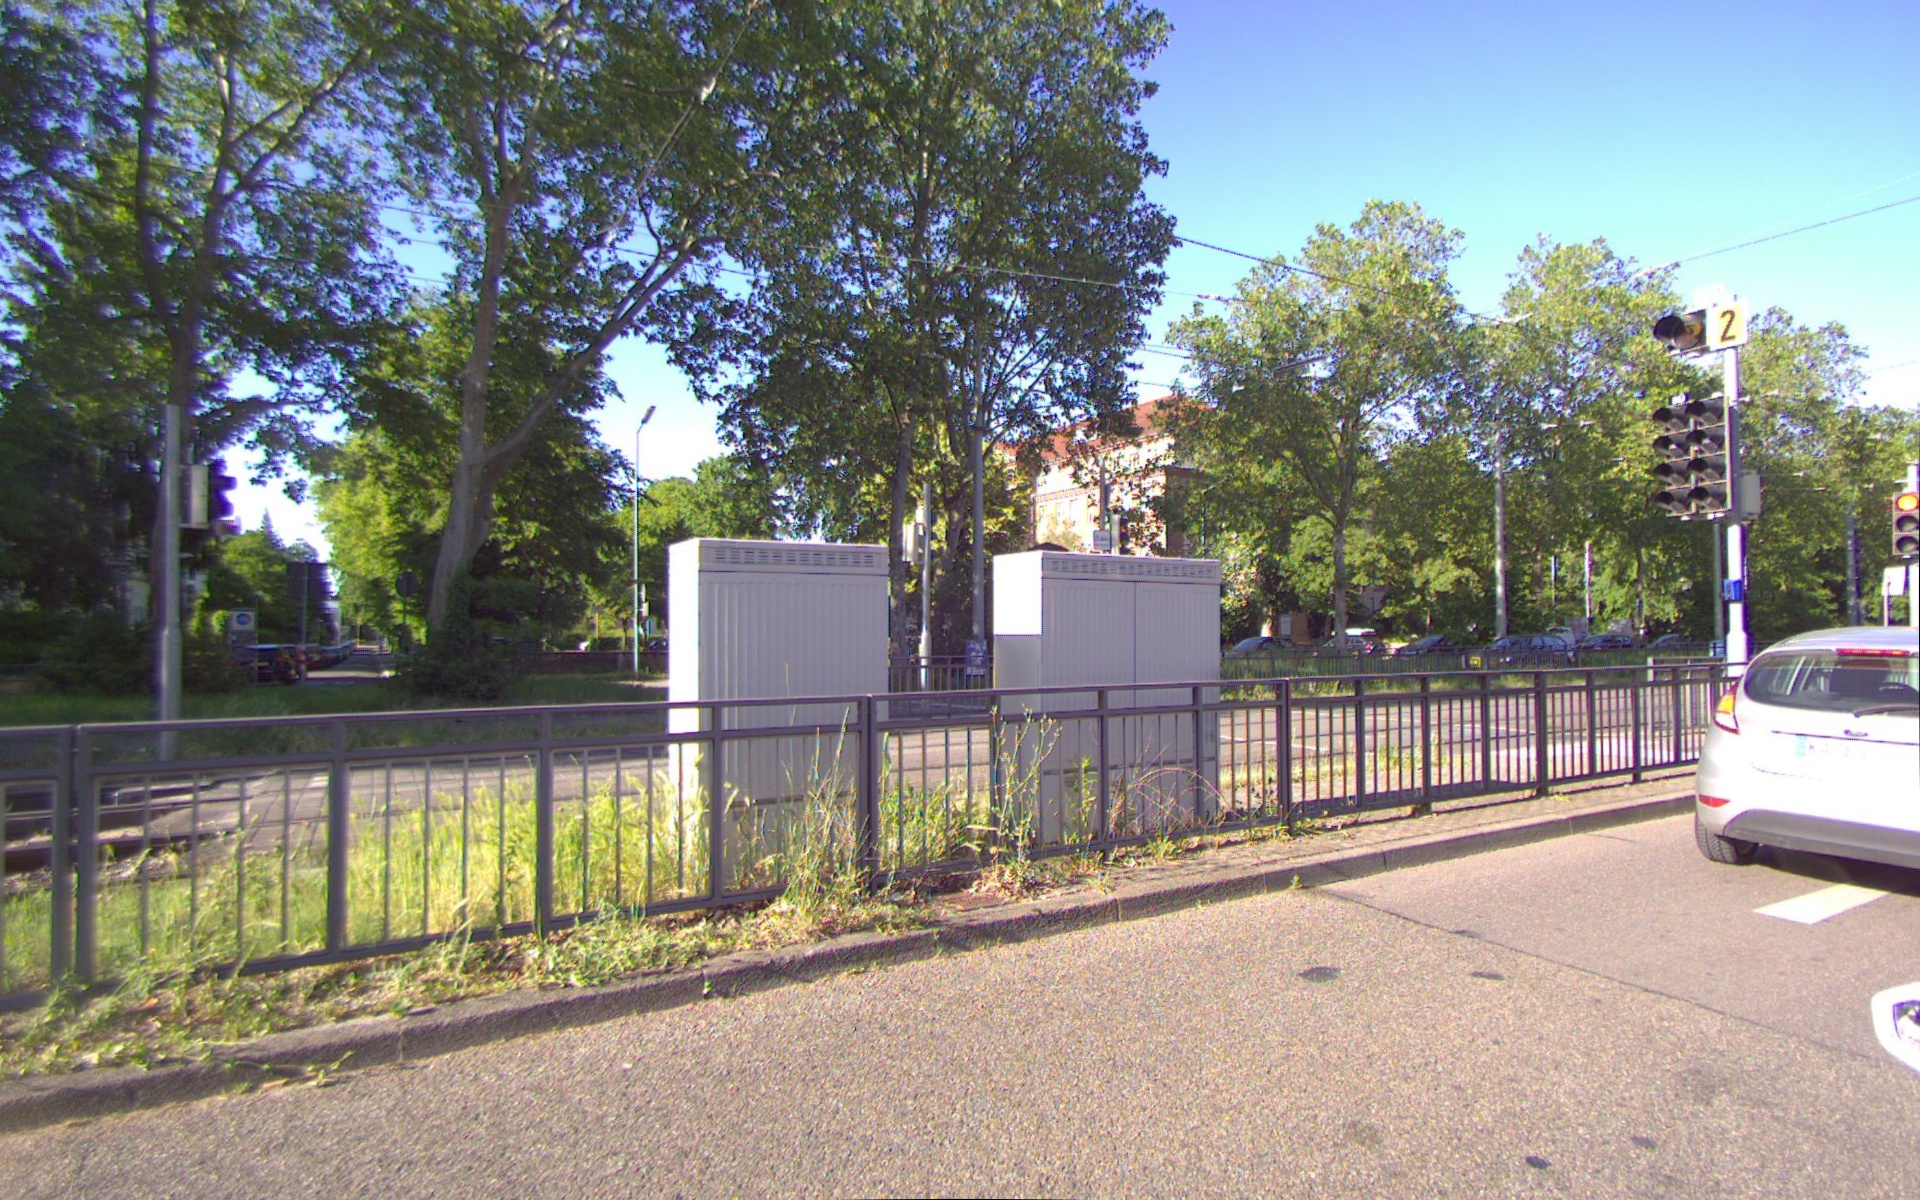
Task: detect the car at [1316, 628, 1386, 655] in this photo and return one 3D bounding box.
[{"bbox_3d":[22.706,2.395,58.460,1.375,1.514,3.974,0,-1,-26],"label":"car"}]

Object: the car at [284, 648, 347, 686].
[{"bbox_3d":[-27.368,2.808,42.767,1.976,1.437,3.970,1,-1,-29],"label":"car"}]

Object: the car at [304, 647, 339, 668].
[{"bbox_3d":[-37.113,3.342,58.427,1.513,1.134,3.102,1,-2,-29],"label":"car"}]

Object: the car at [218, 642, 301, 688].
[{"bbox_3d":[-24.454,2.222,35.206,1.976,1.437,3.970,1,-1,-29],"label":"car"}]

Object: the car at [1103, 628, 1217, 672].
[{"bbox_3d":[7.373,1.802,36.903,4.098,1.529,1.661,1,-1,-32],"label":"car"}]

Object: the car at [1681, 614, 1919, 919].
[{"bbox_3d":[6.152,0.839,6.179,3.850,1.487,1.599,1,-1,-35],"label":"car"}]

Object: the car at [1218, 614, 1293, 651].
[{"bbox_3d":[17.027,1.850,57.867,3.953,2.040,1.984,1,-1,-30],"label":"car"}]

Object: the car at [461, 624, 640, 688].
[{"bbox_3d":[-10.596,1.401,26.081,4.098,1.529,1.660,1,-2,-32],"label":"car"}]

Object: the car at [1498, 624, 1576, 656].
[{"bbox_3d":[29.060,1.996,50.555,4.098,1.529,1.660,1,-1,-32],"label":"car"}]

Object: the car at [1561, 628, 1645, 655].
[{"bbox_3d":[34.361,2.208,53.642,4.795,1.366,1.926,2,-2,-32],"label":"car"}]

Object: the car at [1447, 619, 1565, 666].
[{"bbox_3d":[18.389,1.387,33.797,4.297,1.518,1.674,1,-1,-33],"label":"car"}]

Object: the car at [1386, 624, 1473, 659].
[{"bbox_3d":[21.579,1.872,46.095,4.098,1.529,1.661,1,-2,-32],"label":"car"}]
